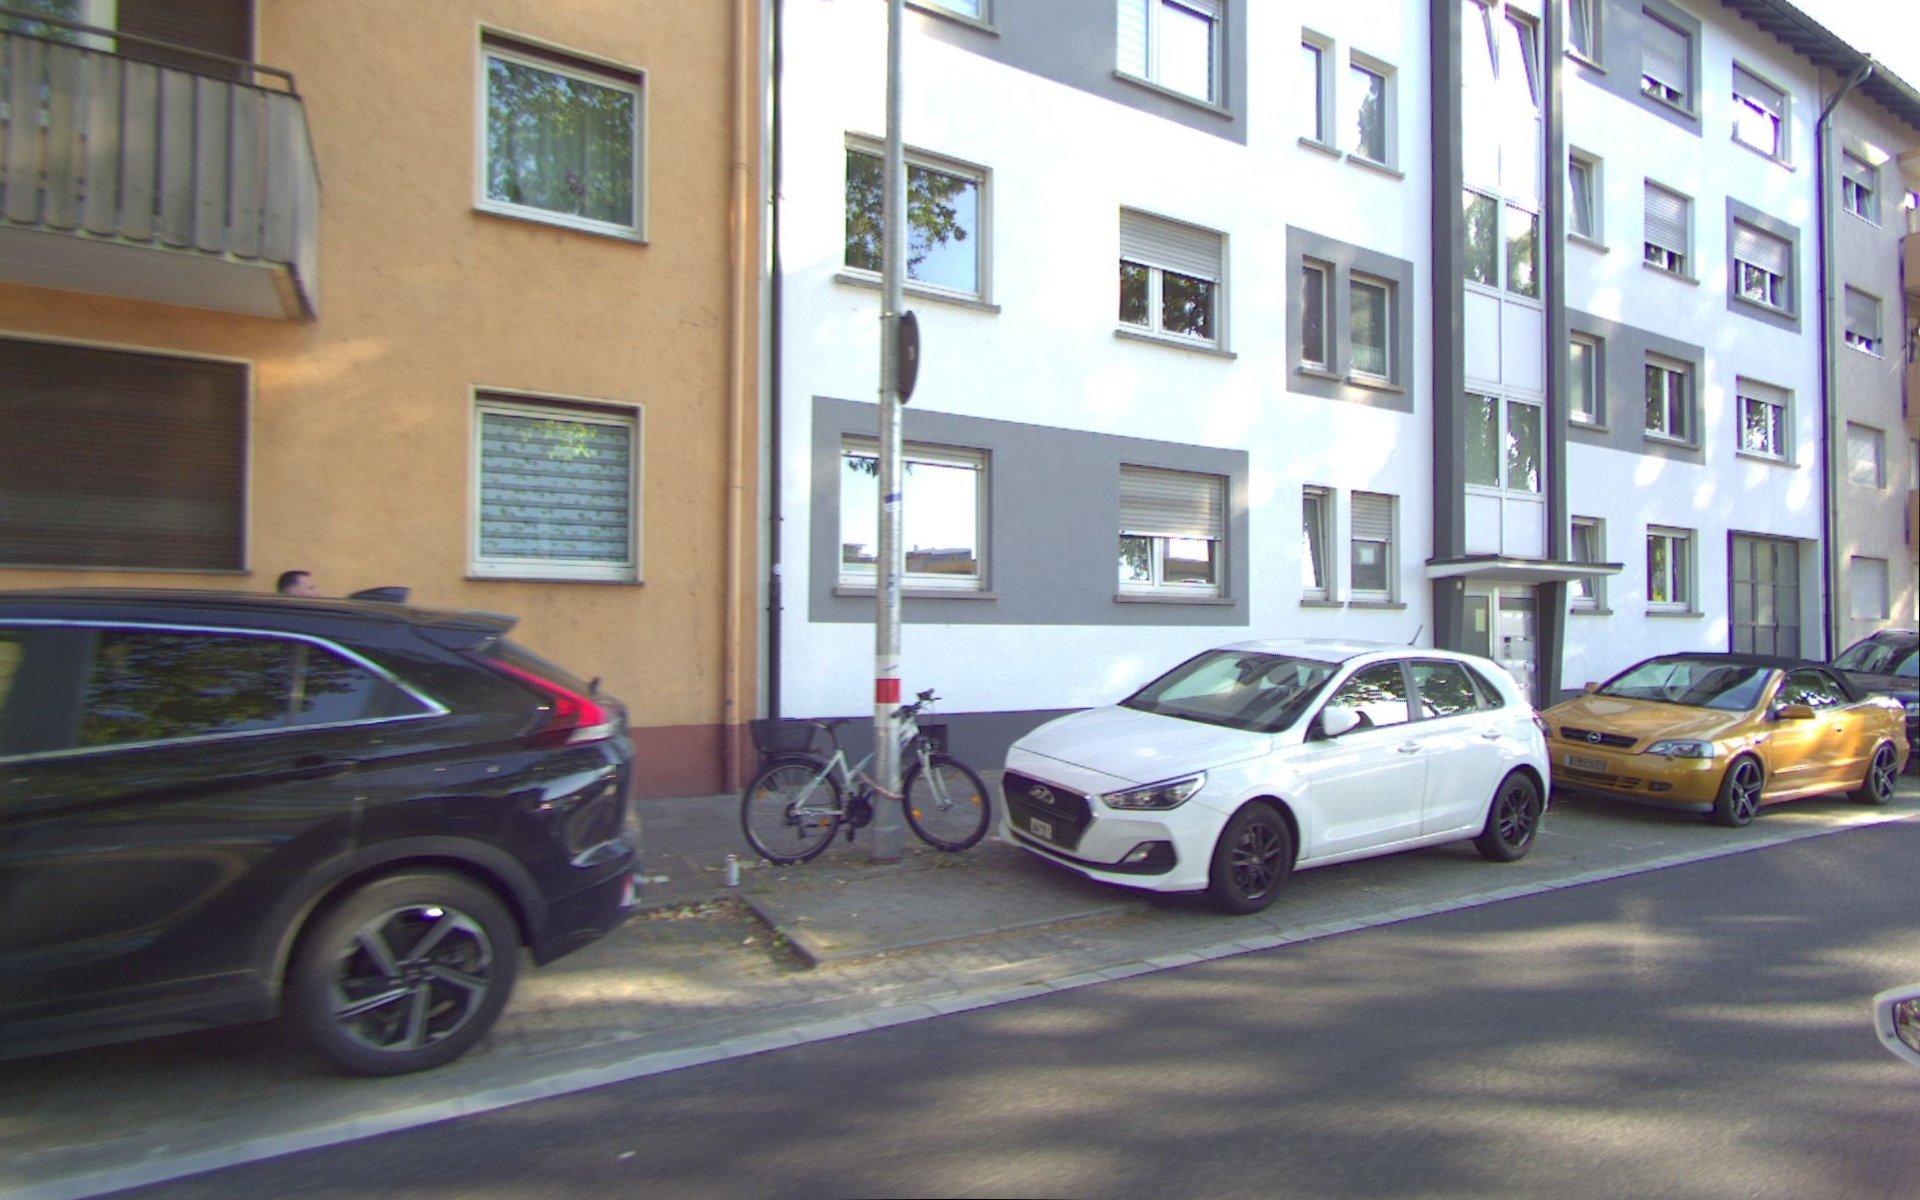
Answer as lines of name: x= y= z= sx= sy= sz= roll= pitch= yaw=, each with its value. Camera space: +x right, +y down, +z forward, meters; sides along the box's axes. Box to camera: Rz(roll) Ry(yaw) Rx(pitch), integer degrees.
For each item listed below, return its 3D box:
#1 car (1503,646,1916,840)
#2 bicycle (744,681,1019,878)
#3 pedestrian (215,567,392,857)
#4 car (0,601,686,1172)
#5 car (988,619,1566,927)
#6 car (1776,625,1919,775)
car: x=7.244 y=1.205 z=9.629 sx=4.165 sy=1.453 sz=1.590 roll=1 pitch=0 yaw=-29
bicycle: x=-0.499 y=1.101 z=6.474 sx=1.688 sy=1.100 sz=0.555 roll=1 pitch=-2 yaw=-21
pedestrian: x=-4.379 y=0.698 z=6.775 sx=0.922 sy=1.792 sz=0.762 roll=1 pitch=0 yaw=-30
car: x=-3.350 y=0.838 z=3.538 sx=4.357 sy=1.663 sz=1.590 roll=1 pitch=0 yaw=-29
car: x=2.262 y=0.930 z=6.823 sx=3.960 sy=1.544 sz=1.539 roll=1 pitch=0 yaw=-32
car: x=12.069 y=1.162 z=12.636 sx=3.793 sy=1.651 sz=1.589 roll=1 pitch=0 yaw=-31
